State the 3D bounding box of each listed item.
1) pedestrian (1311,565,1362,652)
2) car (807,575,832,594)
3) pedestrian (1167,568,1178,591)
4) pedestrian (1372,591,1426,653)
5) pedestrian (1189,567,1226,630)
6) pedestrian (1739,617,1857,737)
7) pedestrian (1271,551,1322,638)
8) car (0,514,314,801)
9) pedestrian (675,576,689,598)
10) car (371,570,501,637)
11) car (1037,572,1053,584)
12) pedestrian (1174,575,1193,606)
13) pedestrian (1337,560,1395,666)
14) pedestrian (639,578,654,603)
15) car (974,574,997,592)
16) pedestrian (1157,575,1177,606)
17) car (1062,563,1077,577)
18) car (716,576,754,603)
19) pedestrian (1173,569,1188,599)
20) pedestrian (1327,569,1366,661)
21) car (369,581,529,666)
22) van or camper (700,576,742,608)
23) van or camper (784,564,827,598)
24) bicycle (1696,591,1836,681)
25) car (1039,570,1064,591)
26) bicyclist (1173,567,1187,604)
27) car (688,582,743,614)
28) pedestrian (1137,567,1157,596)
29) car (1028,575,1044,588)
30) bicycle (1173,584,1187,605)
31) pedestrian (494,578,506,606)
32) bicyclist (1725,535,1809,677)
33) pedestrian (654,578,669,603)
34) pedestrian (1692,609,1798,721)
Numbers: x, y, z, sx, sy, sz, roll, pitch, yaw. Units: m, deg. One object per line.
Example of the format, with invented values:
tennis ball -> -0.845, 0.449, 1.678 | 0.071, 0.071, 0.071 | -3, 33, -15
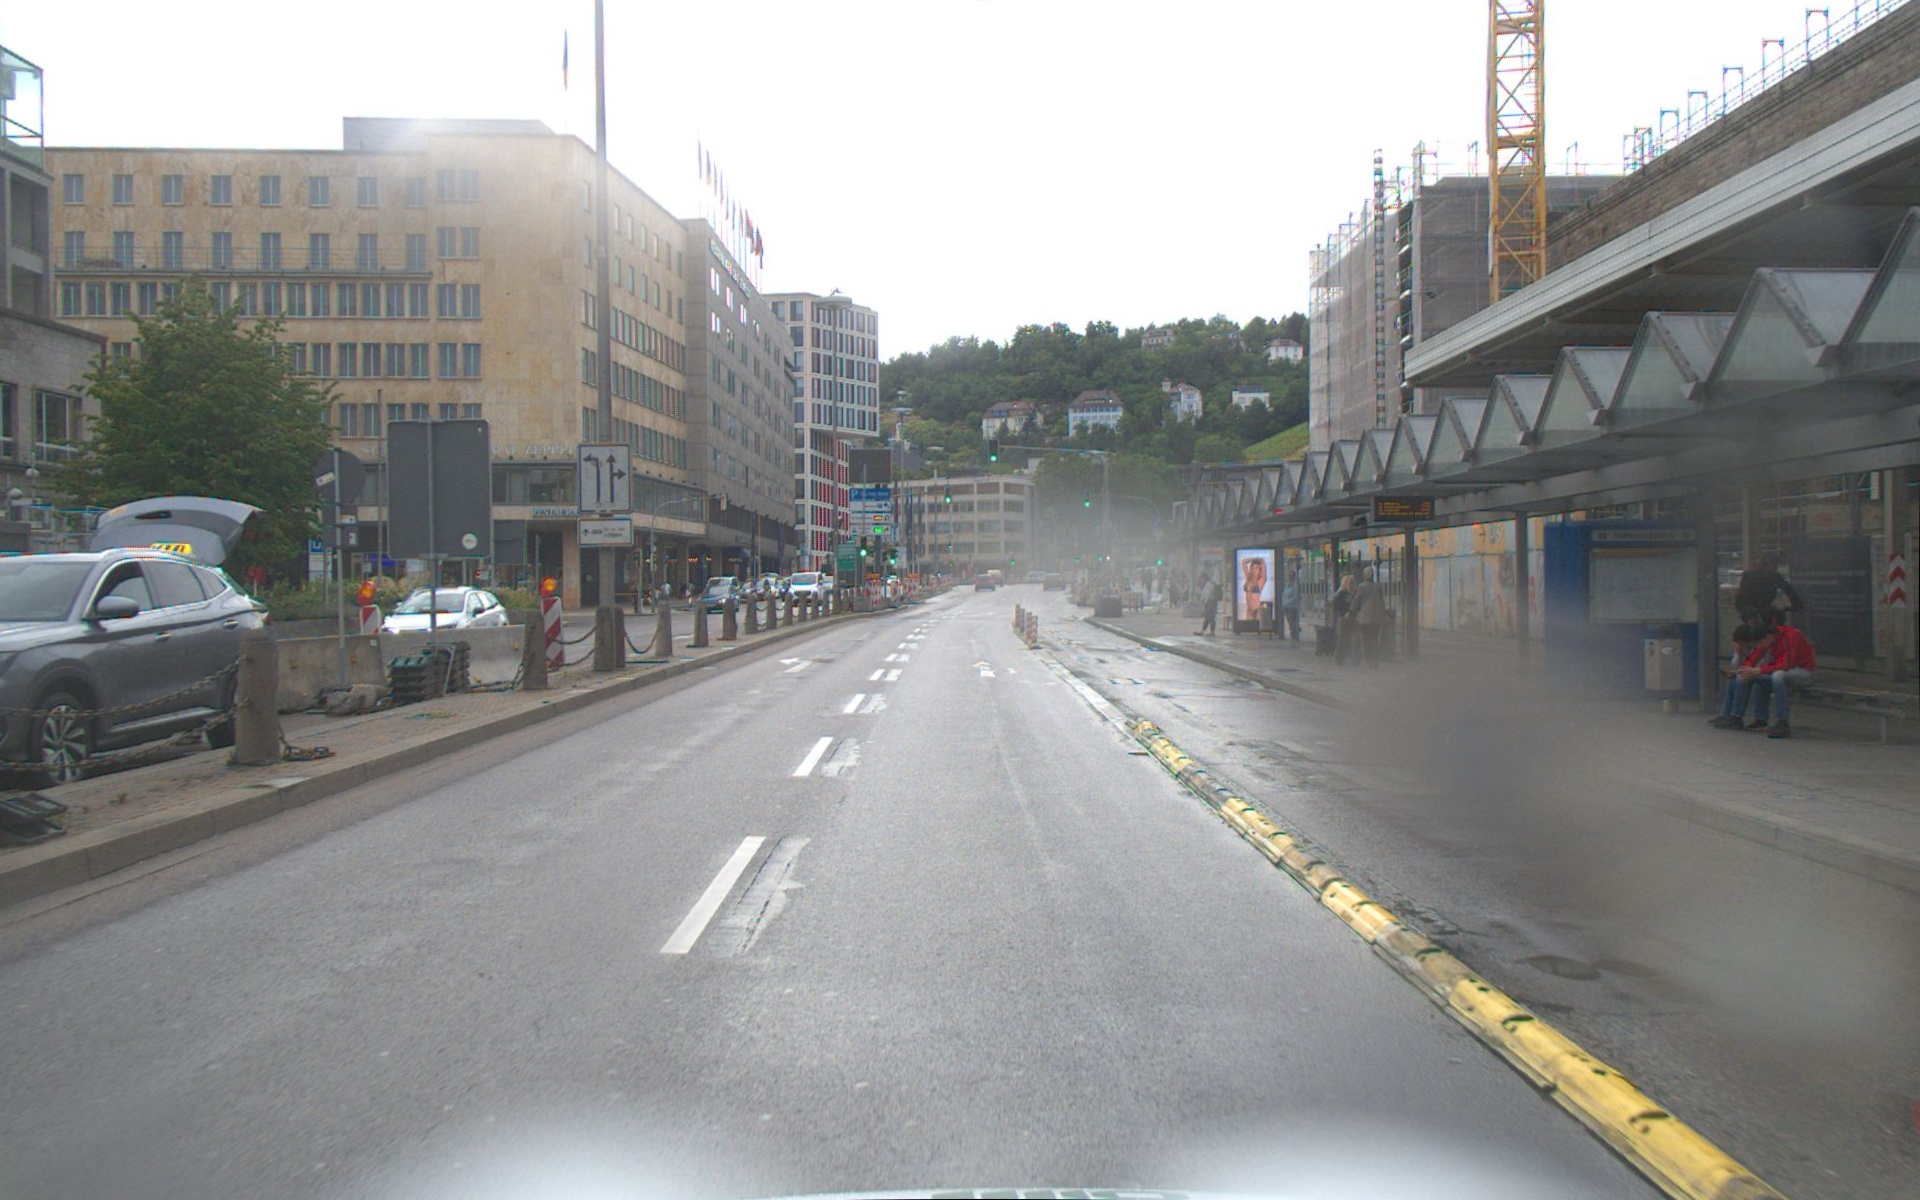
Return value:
pedestrian -> 7.431, 0.166, 32.646 | 0.791, 1.689, 0.804 | 1, 0, -1
car -> -12.225, -1.373, 144.257 | 1.731, 1.637, 4.227 | -1, 0, 2
pedestrian -> 17.557, -1.708, 136.629 | 0.926, 1.873, 0.868 | -1, 0, 8
pedestrian -> 9.203, 0.445, 34.701 | 0.894, 1.252, 0.840 | 1, 1, 0
pedestrian -> 6.727, -0.045, 44.928 | 0.693, 1.709, 0.717 | -1, 0, -27
pedestrian -> 7.948, 0.716, 15.717 | 0.712, 1.084, 0.808 | -1, 0, -1
pedestrian -> 8.251, -0.141, 40.554 | 0.797, 2.086, 0.913 | 1, 0, -40
car -> -6.813, 0.333, 12.505 | 1.953, 1.752, 4.782 | -1, 1, 0
pedestrian -> -19.679, -0.945, 117.261 | 0.778, 1.553, 0.917 | -1, 0, 3
car -> -13.770, 0.052, 43.777 | 1.922, 1.591, 4.835 | -2, 1, -1
car -> 11.207, -2.944, 218.460 | 1.953, 1.467, 4.000 | 1, 1, 0
pedestrian -> 12.050, -0.505, 89.121 | 0.780, 1.636, 0.834 | -1, 0, 31
pedestrian -> 6.752, 0.207, 27.551 | 0.747, 1.723, 0.822 | 0, 0, -1
pedestrian -> -20.046, -0.606, 105.775 | 0.706, 1.584, 0.906 | -1, 0, 3
car -> 2.248, -1.519, 148.396 | 1.953, 1.579, 4.000 | -1, 0, -1
pedestrian -> 11.169, -0.524, 89.263 | 0.780, 1.636, 0.834 | -1, 0, 30
car -> 13.140, -3.538, 198.032 | 1.739, 1.668, 4.002 | 0, 1, 3
car -> -15.780, -0.765, 116.293 | 1.952, 1.870, 4.001 | 0, 1, 2
pedestrian -> 13.773, -0.993, 103.184 | 0.846, 1.873, 0.798 | 0, 1, 11
pedestrian -> 6.740, 0.253, 28.860 | 0.510, 1.593, 0.729 | 0, 0, -1
car -> -10.816, 0.439, 35.386 | 1.922, 1.591, 4.835 | -2, 1, -1
van or camper -> -15.884, -0.552, 110.158 | 1.952, 2.049, 4.966 | -1, 0, 1
van or camper -> -9.508, -1.169, 102.090 | 1.952, 2.049, 5.191 | 0, 0, 2
bicycle -> 11.683, 0.495, 24.076 | 0.798, 1.219, 2.405 | 0, 1, -2
car -> 7.944, -1.664, 143.345 | 1.952, 1.735, 4.000 | -1, 0, 0
bicyclist -> 11.484, -0.759, 86.349 | 0.688, 1.877, 0.968 | 0, 0, 6
car -> -12.943, -0.114, 87.732 | 1.952, 1.645, 4.979 | -1, 0, 2
pedestrian -> 12.285, -1.211, 108.624 | 0.929, 1.873, 0.944 | -1, 0, 32
car -> 9.183, -2.272, 201.005 | 1.782, 1.467, 4.001 | 1, 1, 0
bicycle -> 11.484, -0.303, 86.372 | 0.692, 1.068, 1.808 | 1, 1, 6
pedestrian -> -27.163, -0.480, 97.660 | 0.684, 1.672, 0.647 | -1, 0, -17
bicyclist -> 11.694, 0.086, 23.983 | 0.806, 2.016, 0.818 | 0, 0, -2
pedestrian -> -19.086, -0.596, 105.726 | 0.706, 1.584, 0.895 | -1, 0, 3
pedestrian -> 7.845, 0.640, 16.553 | 0.712, 1.084, 0.709 | -1, 0, -1
